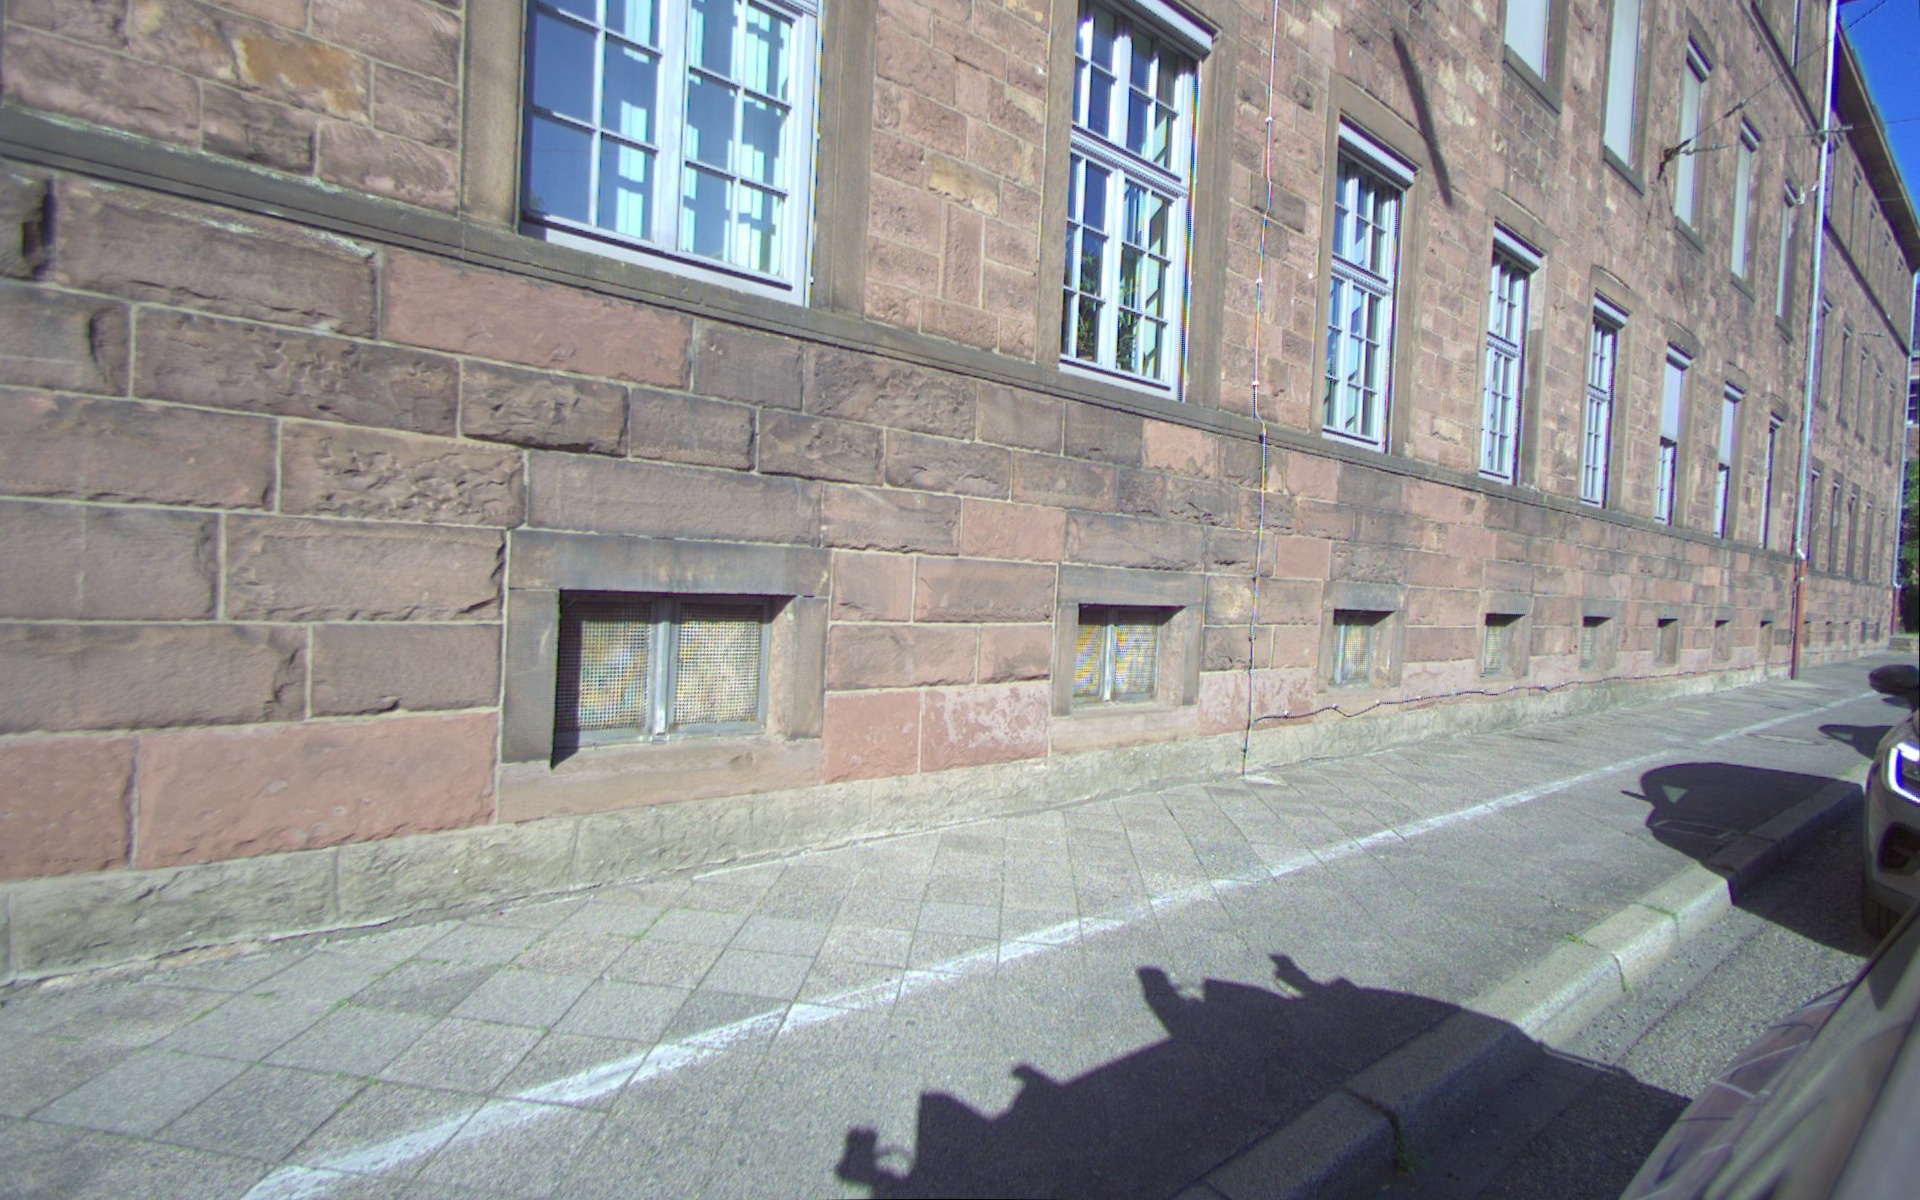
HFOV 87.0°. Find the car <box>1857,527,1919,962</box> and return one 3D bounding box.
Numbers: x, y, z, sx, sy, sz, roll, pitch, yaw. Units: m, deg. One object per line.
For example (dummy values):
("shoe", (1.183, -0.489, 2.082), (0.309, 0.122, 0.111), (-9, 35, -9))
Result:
("car", (5.450, 0.579, 4.526), (3.735, 1.624, 1.793), (1, 1, -43))
